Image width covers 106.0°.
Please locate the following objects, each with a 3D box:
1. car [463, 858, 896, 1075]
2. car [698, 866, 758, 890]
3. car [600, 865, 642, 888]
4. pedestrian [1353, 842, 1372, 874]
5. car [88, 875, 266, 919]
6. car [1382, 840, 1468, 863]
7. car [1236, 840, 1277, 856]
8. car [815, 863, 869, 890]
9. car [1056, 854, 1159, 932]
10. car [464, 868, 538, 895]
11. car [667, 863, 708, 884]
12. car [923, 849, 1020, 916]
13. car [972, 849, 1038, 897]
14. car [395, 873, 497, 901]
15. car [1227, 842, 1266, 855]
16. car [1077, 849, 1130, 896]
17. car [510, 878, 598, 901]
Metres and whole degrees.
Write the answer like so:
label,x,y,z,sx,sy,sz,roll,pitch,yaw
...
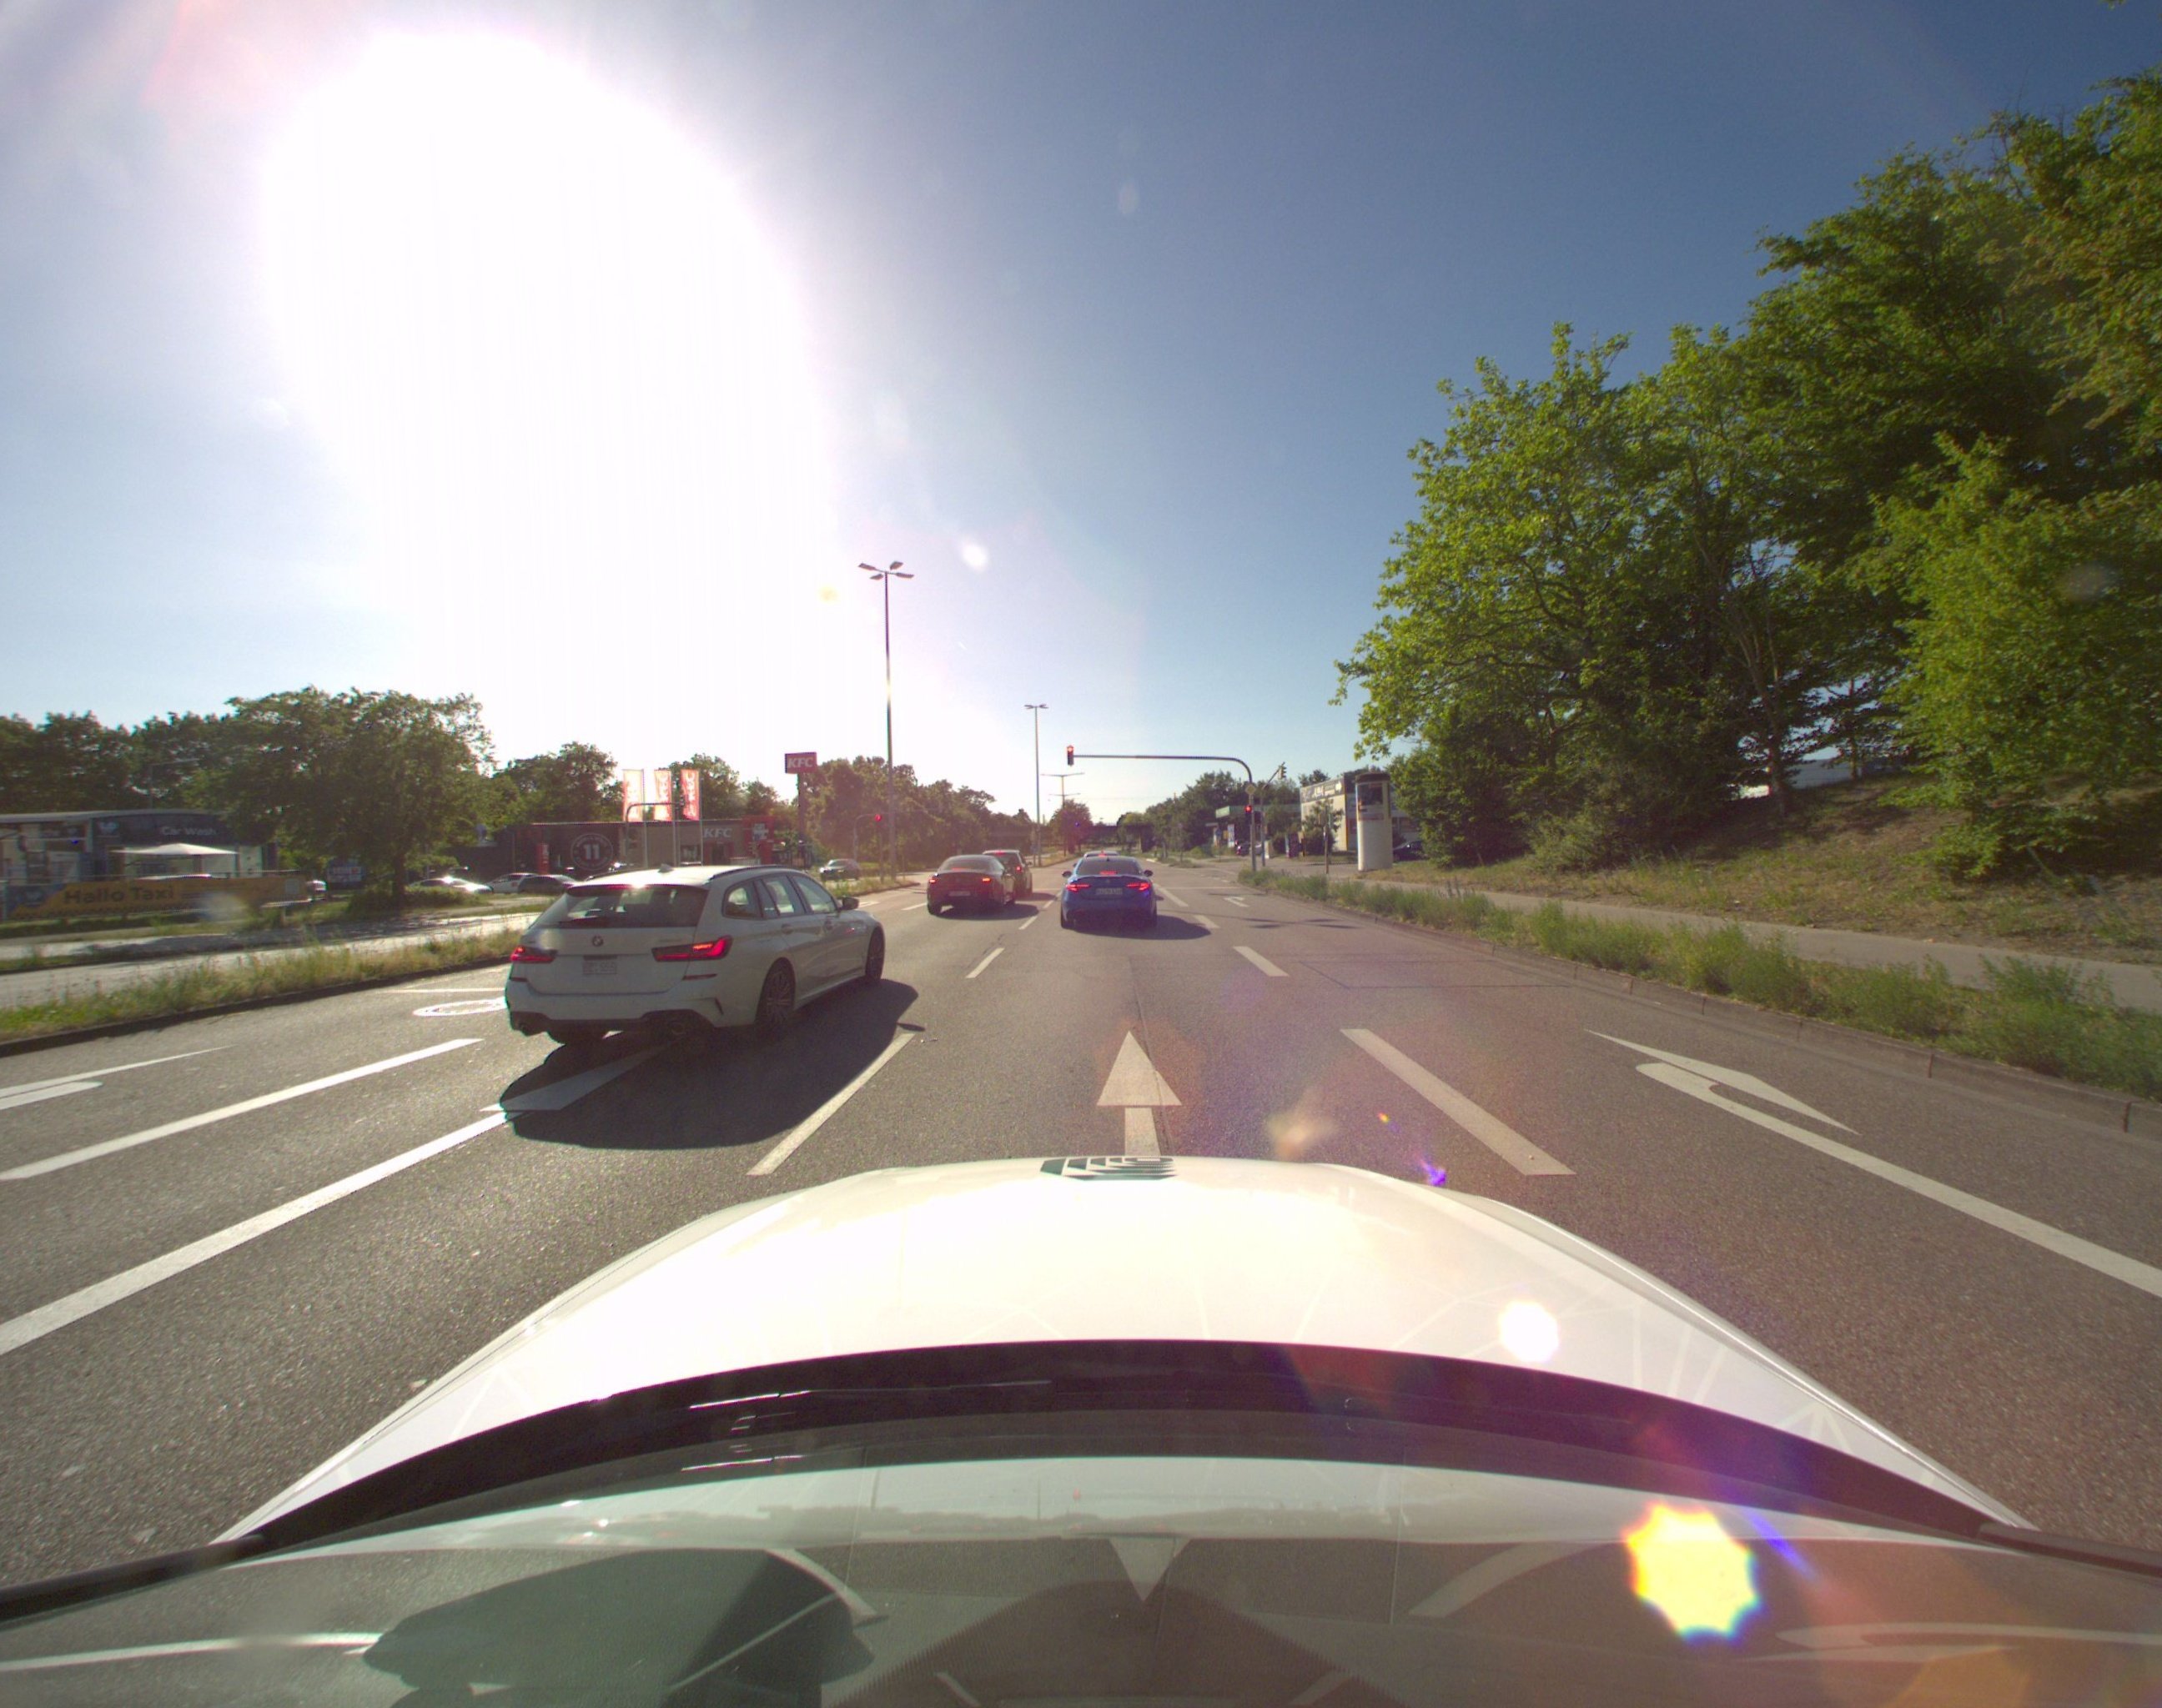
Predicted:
label,x,y,z,sx,sy,sz,roll,pitch,yaw
car,-3.297,0.790,7.926,1.805,1.486,4.598,0,0,2
car,-24.788,1.680,57.311,3.775,1.559,1.985,0,0,-22
car,-36.892,1.770,65.287,1.946,1.740,4.046,0,-1,-44
pedestrian,14.603,0.201,42.282,0.814,1.669,0.514,0,-1,1
car,-33.825,1.564,30.653,1.981,1.442,4.012,0,0,11
car,22.196,-0.166,52.678,4.803,1.468,1.758,0,0,0
car,18.281,-0.627,85.070,3.970,1.552,2.001,0,0,3
car,-17.098,1.607,58.453,1.790,1.726,4.338,-1,1,14
car,0.606,0.728,16.897,1.901,1.423,3.722,0,0,4
car,-40.354,1.898,56.737,3.746,1.813,2.001,0,0,1
car,-33.304,1.602,68.849,1.946,1.740,4.046,0,-1,-44
car,-2.752,0.662,21.512,1.805,1.551,4.545,-1,0,1
car,-2.564,0.623,28.312,1.806,1.551,4.353,0,0,1
car,-38.564,1.994,49.536,4.608,1.579,1.936,0,0,0
car,19.023,-0.626,93.639,3.994,1.552,1.989,0,0,-16
car,0.832,0.608,27.962,1.696,1.497,3.722,0,0,4
car,-31.654,2.123,48.971,4.070,1.252,1.871,0,0,0
